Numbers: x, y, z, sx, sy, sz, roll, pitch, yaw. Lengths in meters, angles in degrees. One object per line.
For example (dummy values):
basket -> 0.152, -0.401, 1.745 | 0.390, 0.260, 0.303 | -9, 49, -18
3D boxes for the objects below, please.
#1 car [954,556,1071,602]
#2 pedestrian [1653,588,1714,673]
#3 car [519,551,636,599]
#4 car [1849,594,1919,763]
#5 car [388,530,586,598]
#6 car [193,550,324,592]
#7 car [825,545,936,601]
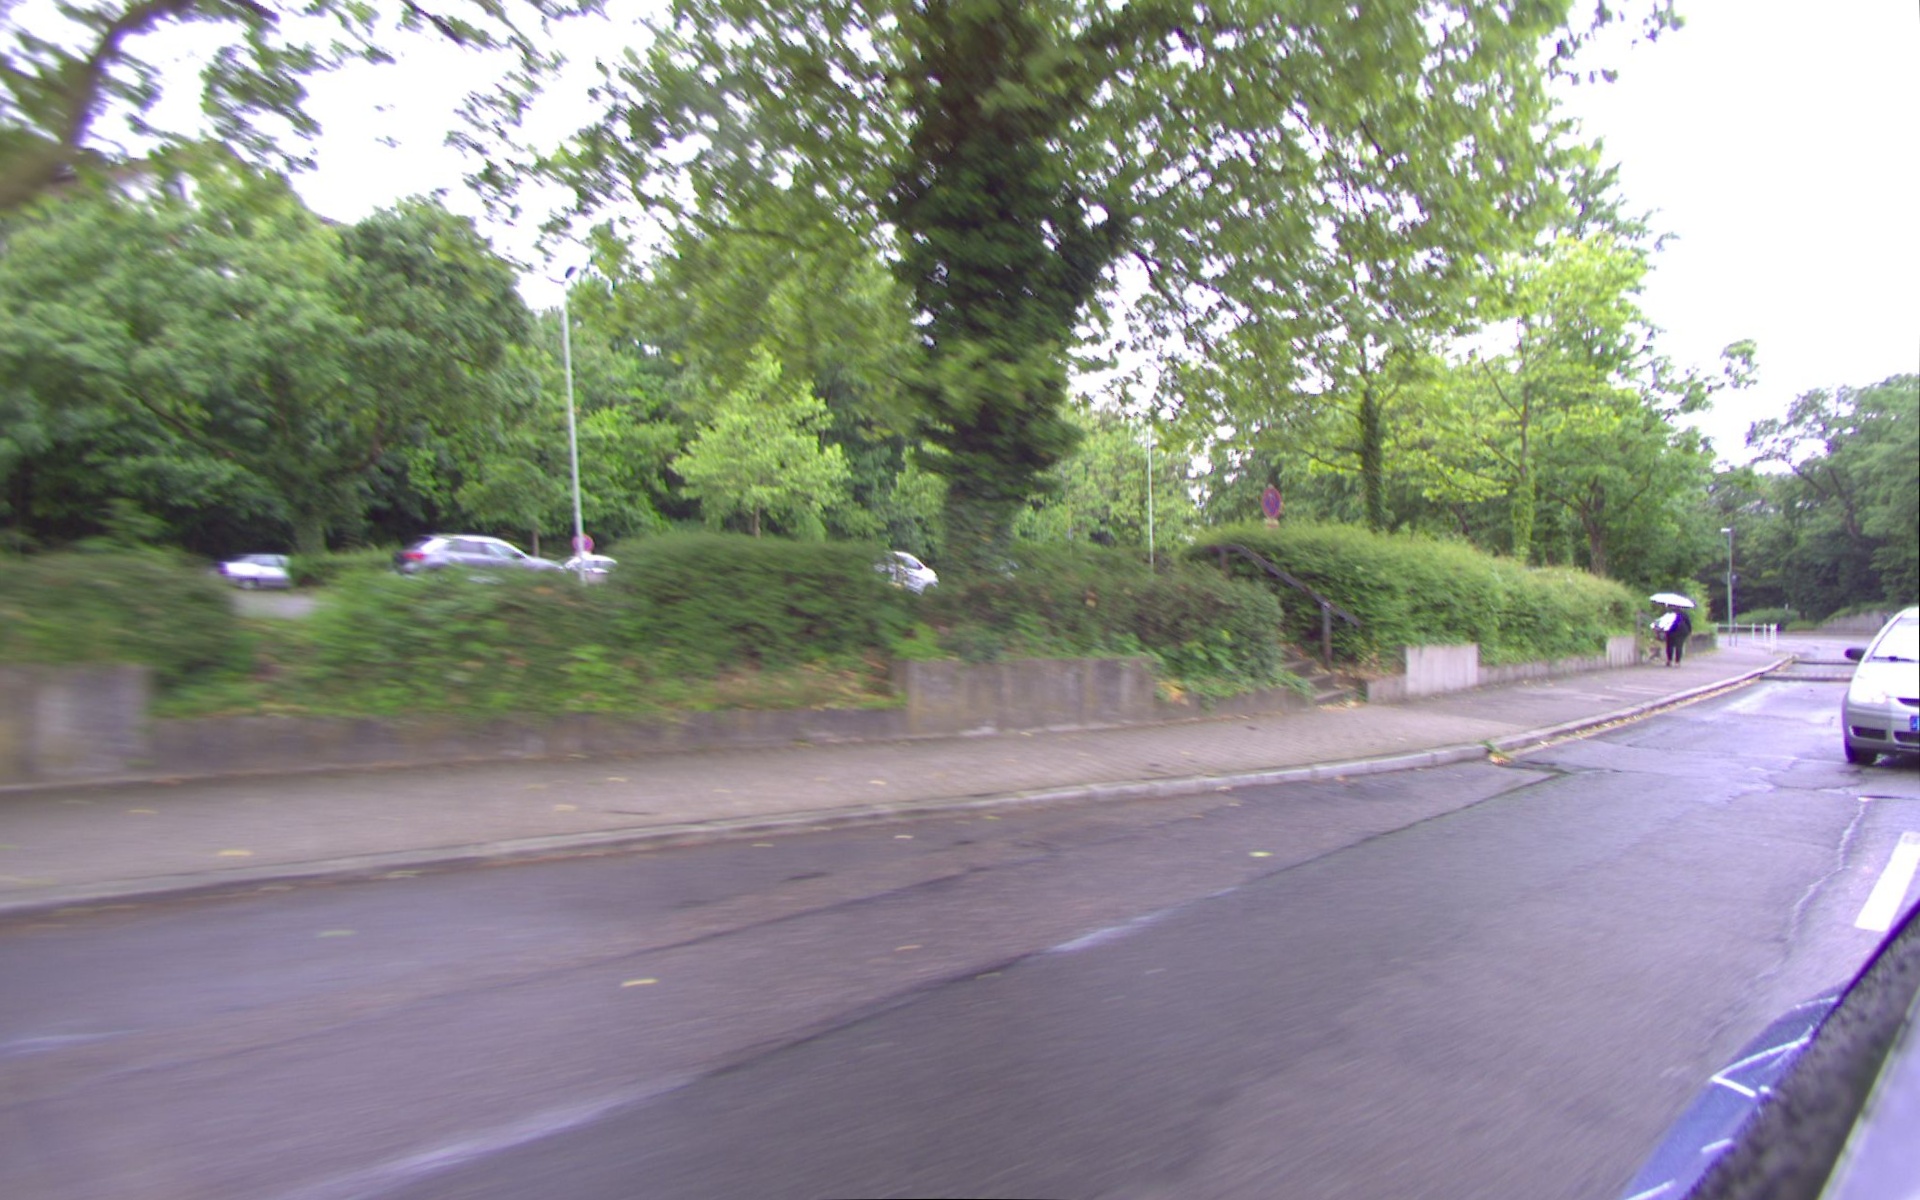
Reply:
car -> 1.925, -0.712, 36.001 | 4.103, 1.472, 1.895 | 1, -2, -45
pedestrian -> 17.202, 0.698, 24.052 | 1.050, 1.917, 1.117 | -1, 1, 41
car -> -13.625, -0.852, 36.137 | 3.568, 1.543, 1.703 | 1, -2, -44
car -> 10.413, 0.709, 10.065 | 3.926, 1.524, 1.640 | 0, 1, -37
car -> -11.735, -0.835, 25.266 | 4.103, 1.472, 1.895 | 1, -2, -45
car -> -26.132, -1.047, 37.803 | 1.688, 1.338, 3.675 | -1, -2, 27
car -> -3.089, -1.013, 40.081 | 4.282, 2.040, 1.703 | 1, -2, -44
